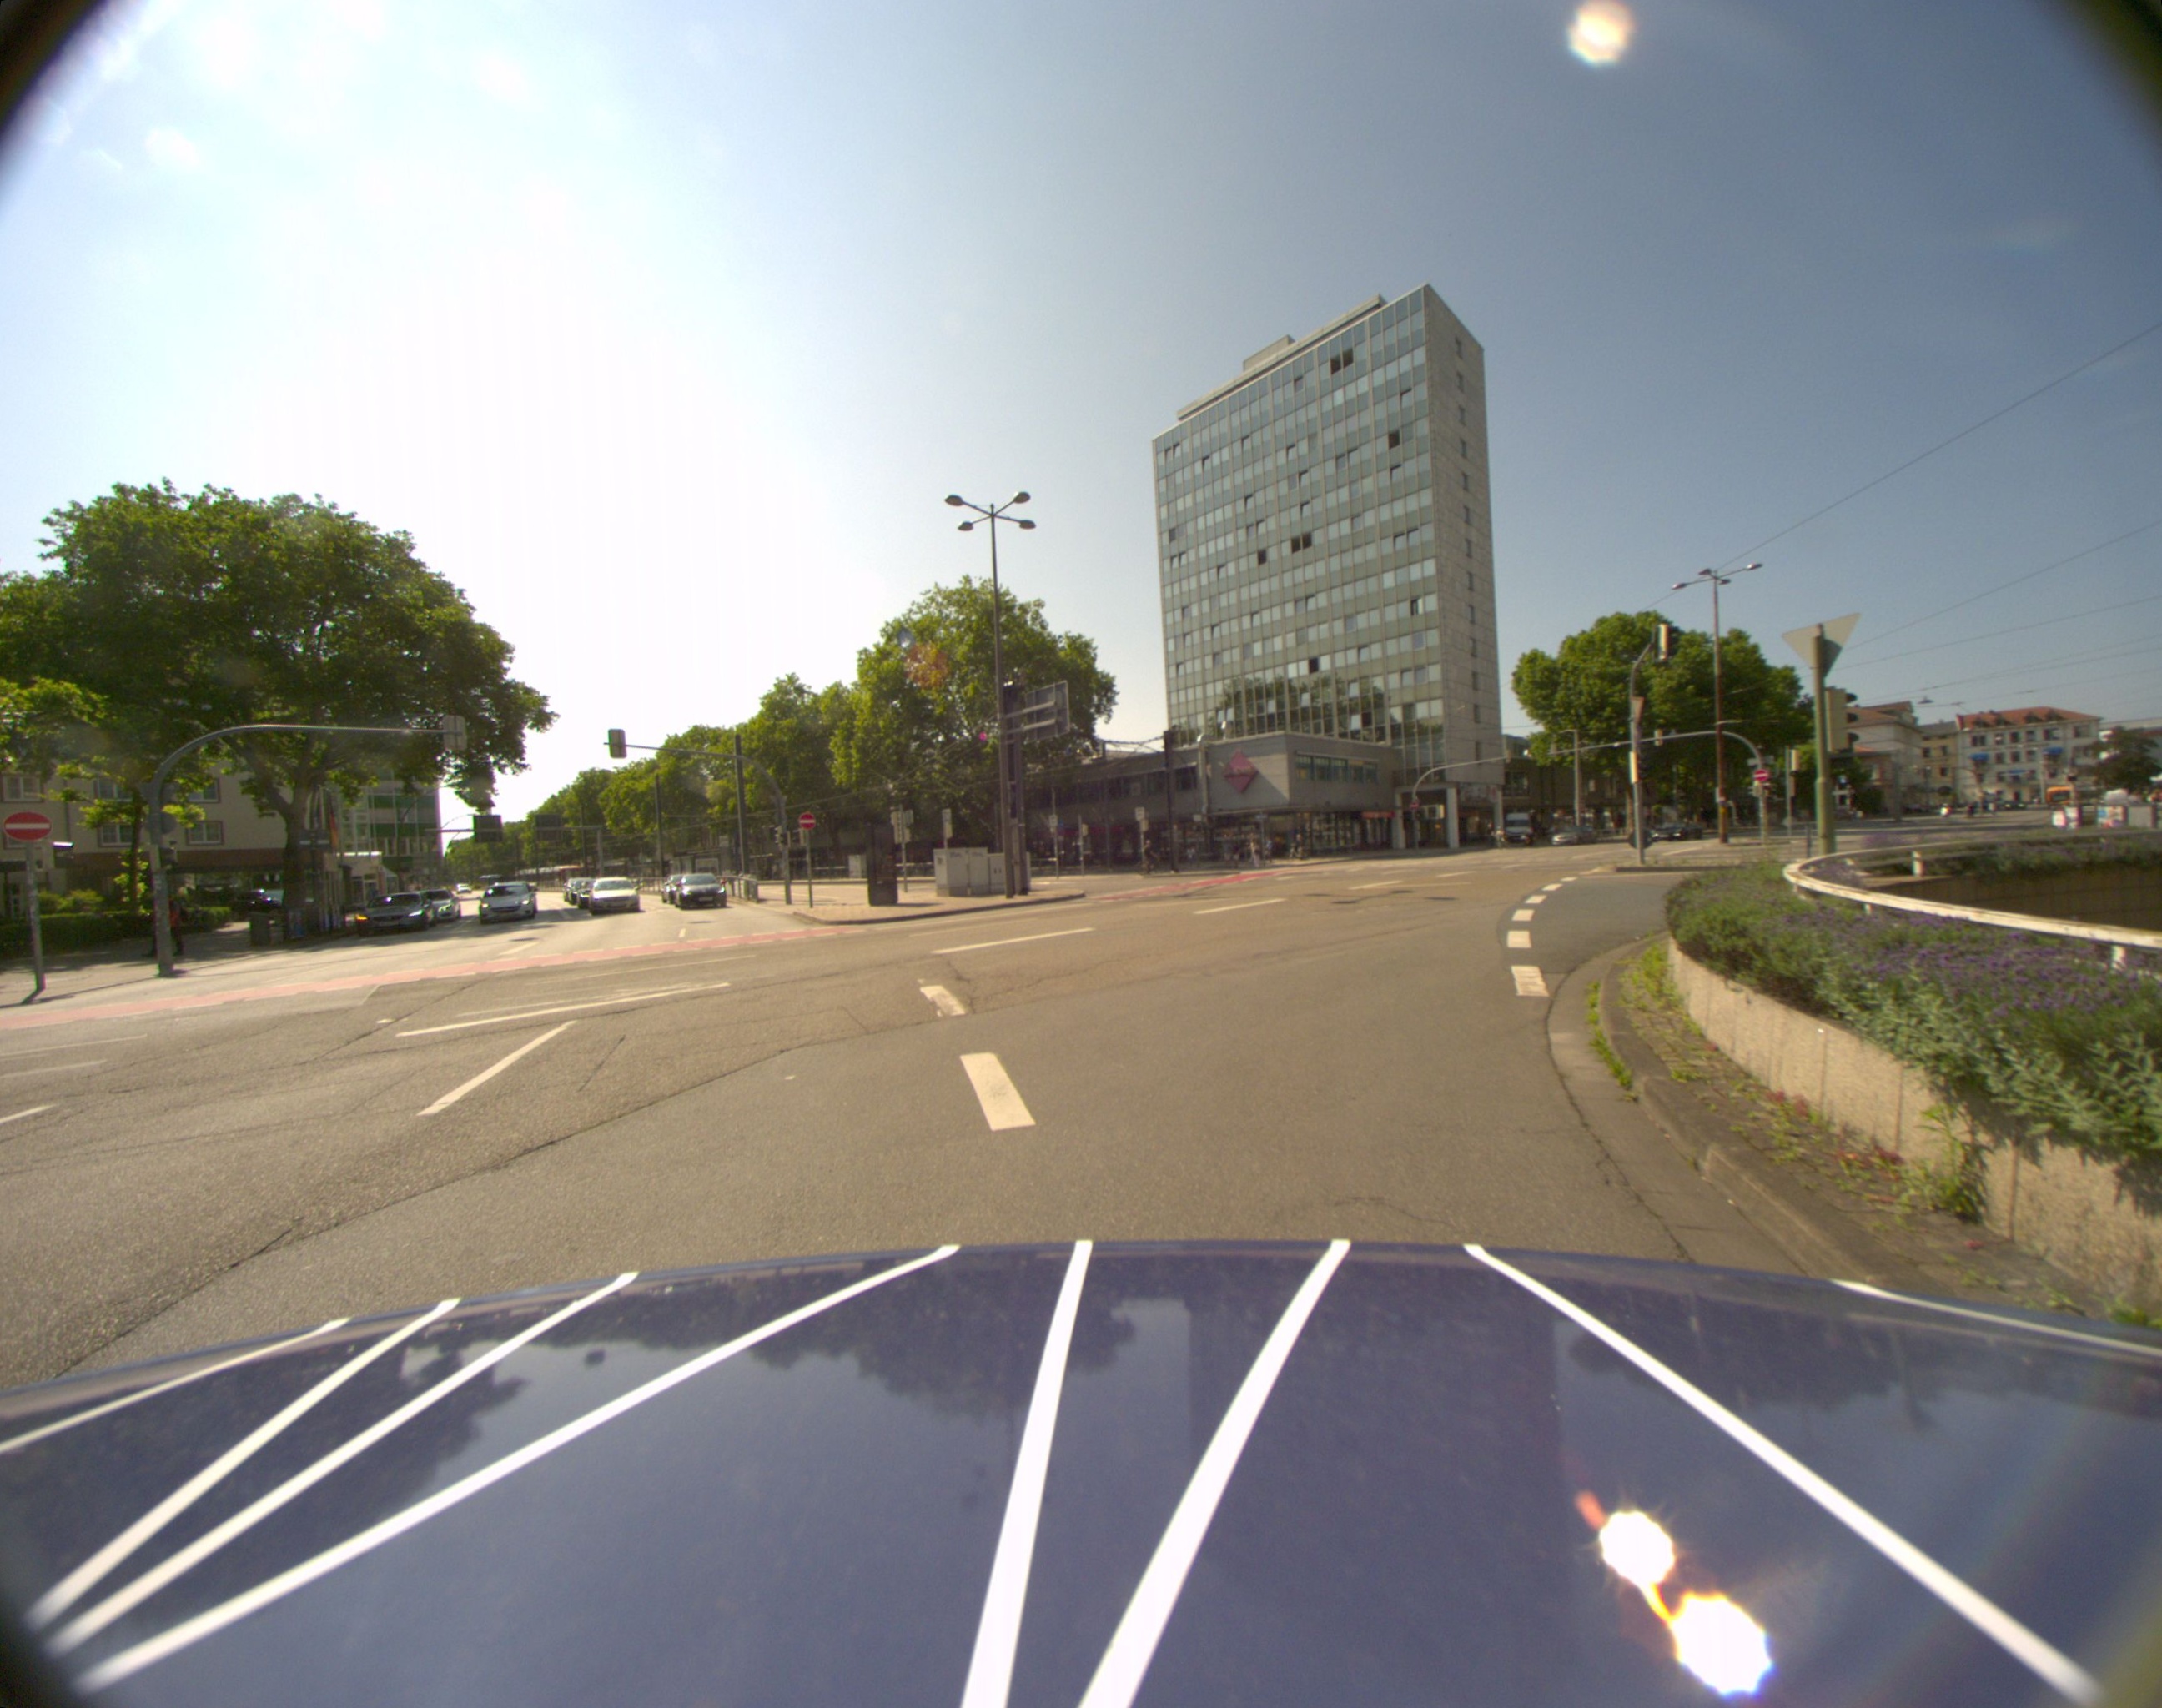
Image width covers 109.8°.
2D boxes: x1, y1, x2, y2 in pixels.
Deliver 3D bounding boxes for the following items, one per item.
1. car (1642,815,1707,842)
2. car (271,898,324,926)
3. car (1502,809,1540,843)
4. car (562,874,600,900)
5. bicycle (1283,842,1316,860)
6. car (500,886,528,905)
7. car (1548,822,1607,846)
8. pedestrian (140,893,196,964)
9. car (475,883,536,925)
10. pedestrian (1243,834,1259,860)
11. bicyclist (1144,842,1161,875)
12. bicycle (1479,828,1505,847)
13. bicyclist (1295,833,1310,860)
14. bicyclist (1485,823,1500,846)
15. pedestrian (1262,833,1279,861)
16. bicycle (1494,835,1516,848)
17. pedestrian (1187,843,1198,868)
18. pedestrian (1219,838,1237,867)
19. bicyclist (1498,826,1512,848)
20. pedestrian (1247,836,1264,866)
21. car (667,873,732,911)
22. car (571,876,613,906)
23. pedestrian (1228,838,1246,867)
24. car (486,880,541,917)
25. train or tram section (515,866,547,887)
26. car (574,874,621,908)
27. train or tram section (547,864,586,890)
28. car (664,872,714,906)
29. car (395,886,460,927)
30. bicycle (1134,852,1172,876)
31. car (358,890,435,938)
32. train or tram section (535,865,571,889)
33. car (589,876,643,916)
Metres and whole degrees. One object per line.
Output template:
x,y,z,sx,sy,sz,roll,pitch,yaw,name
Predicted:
37.748,-1.631,48.321,4.084,1.525,1.878,-4,1,-30,car
-44.974,3.297,43.669,1.593,1.315,3.570,-4,1,-39,car
39.679,-2.576,68.486,1.743,2.899,4.644,-2,1,44,car
-32.217,2.100,49.063,1.795,1.514,3.965,-2,0,-31,car
14.198,-0.190,49.288,1.970,1.096,0.576,-3,1,-14,bicycle
-50.379,3.651,67.574,1.795,1.443,3.964,-2,0,-34,car
35.552,-1.435,54.374,4.170,1.452,1.878,-4,1,-30,car
-24.442,1.975,20.356,0.727,1.795,0.651,-4,1,-37,pedestrian
-22.978,1.928,30.388,1.795,1.443,3.963,-2,0,-37,car
11.689,-0.486,52.260,0.824,1.796,0.670,-2,1,-11,pedestrian
3.707,0.232,39.315,0.684,1.697,0.521,-3,2,-17,bicyclist
31.197,-1.250,57.635,1.942,1.292,0.715,-4,3,-27,bicycle
14.371,-0.491,49.326,0.684,1.677,0.583,-4,1,-13,bicyclist
31.229,-1.481,57.651,0.685,1.759,0.695,-4,3,-27,bicyclist
12.593,-0.480,50.509,0.824,1.825,0.670,-3,1,-13,pedestrian
30.976,-0.929,55.463,1.813,0.878,0.591,-4,3,-33,bicycle
7.440,0.112,50.781,0.599,1.629,0.566,-2,1,12,pedestrian
9.471,-0.073,48.804,0.825,1.825,0.733,-3,2,-44,pedestrian
30.929,-1.249,55.422,0.685,1.518,0.581,-4,3,-33,bicyclist
11.052,-0.204,48.111,0.825,1.825,0.669,-3,2,-45,pedestrian
-16.298,1.550,32.348,1.795,1.443,4.270,-2,0,-35,car
-27.301,2.023,42.512,1.795,1.514,3.965,-2,0,-31,car
9.891,-0.085,48.206,0.825,1.825,0.669,-3,2,-44,pedestrian
-26.807,2.043,35.981,1.795,1.521,3.964,-2,0,-33,car
-88.586,3.658,122.389,2.740,3.249,8.714,-4,1,-44,train or tram section
-24.051,1.812,37.887,1.795,1.514,3.965,-2,0,-31,car
-70.323,3.175,103.709,2.740,3.249,8.714,-4,1,-44,train or tram section
-19.828,1.719,38.350,1.795,1.508,3.964,-2,0,-34,car
-28.246,2.221,32.945,1.795,1.516,3.963,-2,0,-37,car
3.726,0.507,39.327,1.817,1.160,0.521,-3,1,-16,bicycle
-24.907,2.129,27.755,1.795,1.443,3.963,-2,0,-38,car
-76.403,3.336,109.904,2.740,3.249,8.714,-4,1,-44,train or tram section
-19.491,1.702,31.757,1.723,1.491,4.480,-2,-1,-34,car
